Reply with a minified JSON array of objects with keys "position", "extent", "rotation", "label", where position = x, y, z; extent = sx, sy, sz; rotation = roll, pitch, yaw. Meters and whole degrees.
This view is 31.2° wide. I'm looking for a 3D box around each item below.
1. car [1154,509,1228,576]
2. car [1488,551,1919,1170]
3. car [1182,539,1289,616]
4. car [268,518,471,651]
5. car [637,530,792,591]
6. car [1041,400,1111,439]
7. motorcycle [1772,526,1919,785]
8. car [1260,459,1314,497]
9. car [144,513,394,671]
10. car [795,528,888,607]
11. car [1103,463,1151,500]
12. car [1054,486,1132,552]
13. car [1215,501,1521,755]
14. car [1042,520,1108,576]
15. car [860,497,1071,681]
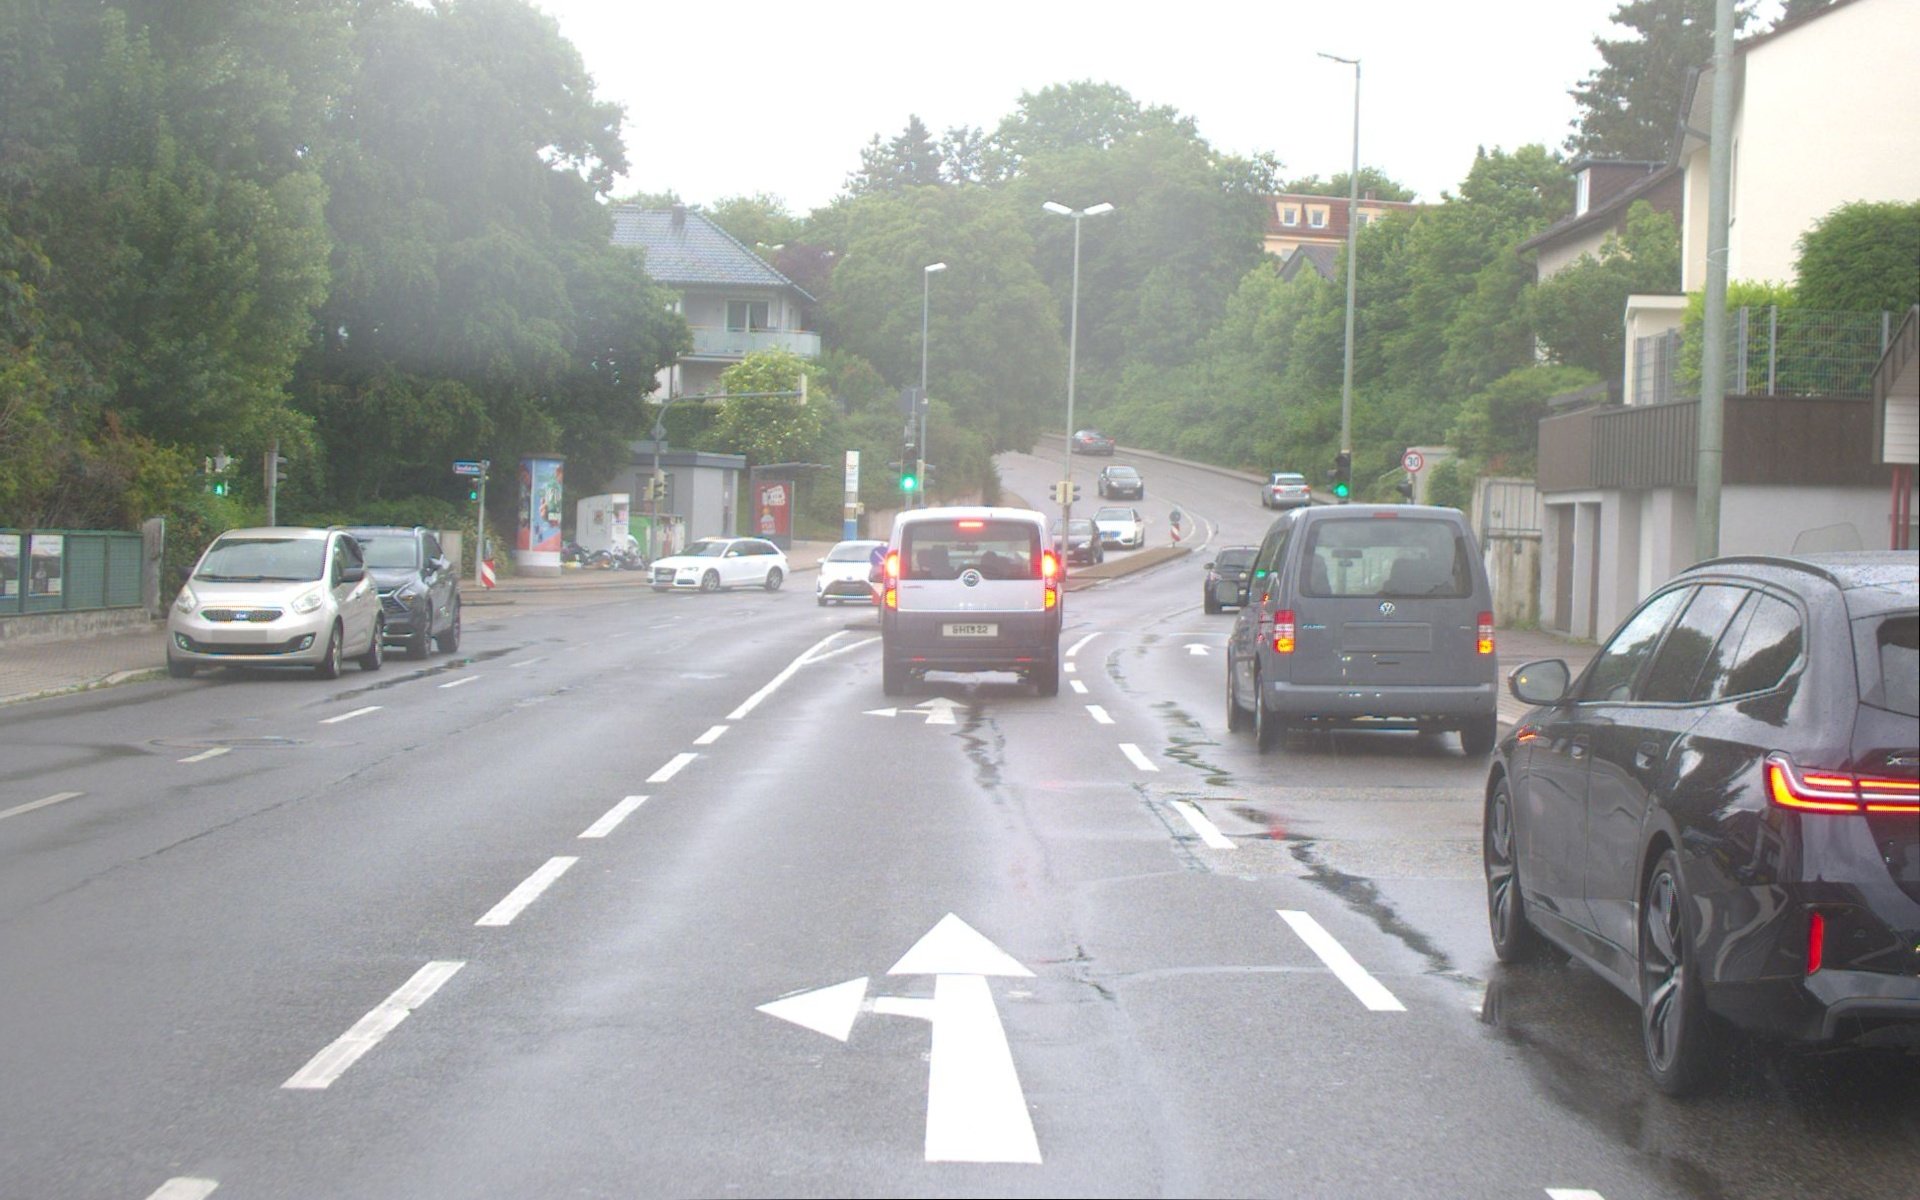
[{"position":[8.226,-2.080,122.423],"extent":[2.522,2.006,5.608],"rotation":[2,4,4],"label":"car"},{"position":[2.839,0.620,10.292],"extent":[1.993,1.478,4.000],"rotation":[1,1,2],"label":"car"},{"position":[5.962,-0.509,74.707],"extent":[1.993,1.573,4.000],"rotation":[0,1,0],"label":"car"},{"position":[-7.501,-0.226,44.018],"extent":[1.884,1.579,4.000],"rotation":[1,1,0],"label":"car"},{"position":[-6.457,-1.039,90.806],"extent":[1.997,1.542,4.389],"rotation":[2,1,29],"label":"car"},{"position":[6.457,-10.121,192.230],"extent":[2.521,2.006,5.611],"rotation":[1,4,-13],"label":"car"},{"position":[5.630,0.304,21.207],"extent":[0.703,1.504,2.150],"rotation":[-1,1,0],"label":"motorcycle"},{"position":[14.551,-5.437,153.170],"extent":[1.993,1.579,4.000],"rotation":[1,1,0],"label":"car"},{"position":[-7.440,-0.115,37.376],"extent":[1.884,1.579,4.000],"rotation":[1,1,0],"label":"car"},{"position":[-2.737,-0.772,80.427],"extent":[1.993,1.766,4.000],"rotation":[1,1,0],"label":"car"},{"position":[7.784,-5.533,160.754],"extent":[1.993,1.579,4.000],"rotation":[1,1,0],"label":"car"},{"position":[4.816,-2.973,124.875],"extent":[2.521,2.006,5.609],"rotation":[2,4,0],"label":"car"},{"position":[3.042,0.166,26.375],"extent":[1.838,1.761,4.000],"rotation":[1,1,0],"label":"car"},{"position":[3.706,-1.697,111.208],"extent":[1.993,1.766,4.000],"rotation":[1,1,0],"label":"car"},{"position":[0.057,-0.136,35.185],"extent":[1.993,1.731,4.000],"rotation":[1,1,0],"label":"car"}]
